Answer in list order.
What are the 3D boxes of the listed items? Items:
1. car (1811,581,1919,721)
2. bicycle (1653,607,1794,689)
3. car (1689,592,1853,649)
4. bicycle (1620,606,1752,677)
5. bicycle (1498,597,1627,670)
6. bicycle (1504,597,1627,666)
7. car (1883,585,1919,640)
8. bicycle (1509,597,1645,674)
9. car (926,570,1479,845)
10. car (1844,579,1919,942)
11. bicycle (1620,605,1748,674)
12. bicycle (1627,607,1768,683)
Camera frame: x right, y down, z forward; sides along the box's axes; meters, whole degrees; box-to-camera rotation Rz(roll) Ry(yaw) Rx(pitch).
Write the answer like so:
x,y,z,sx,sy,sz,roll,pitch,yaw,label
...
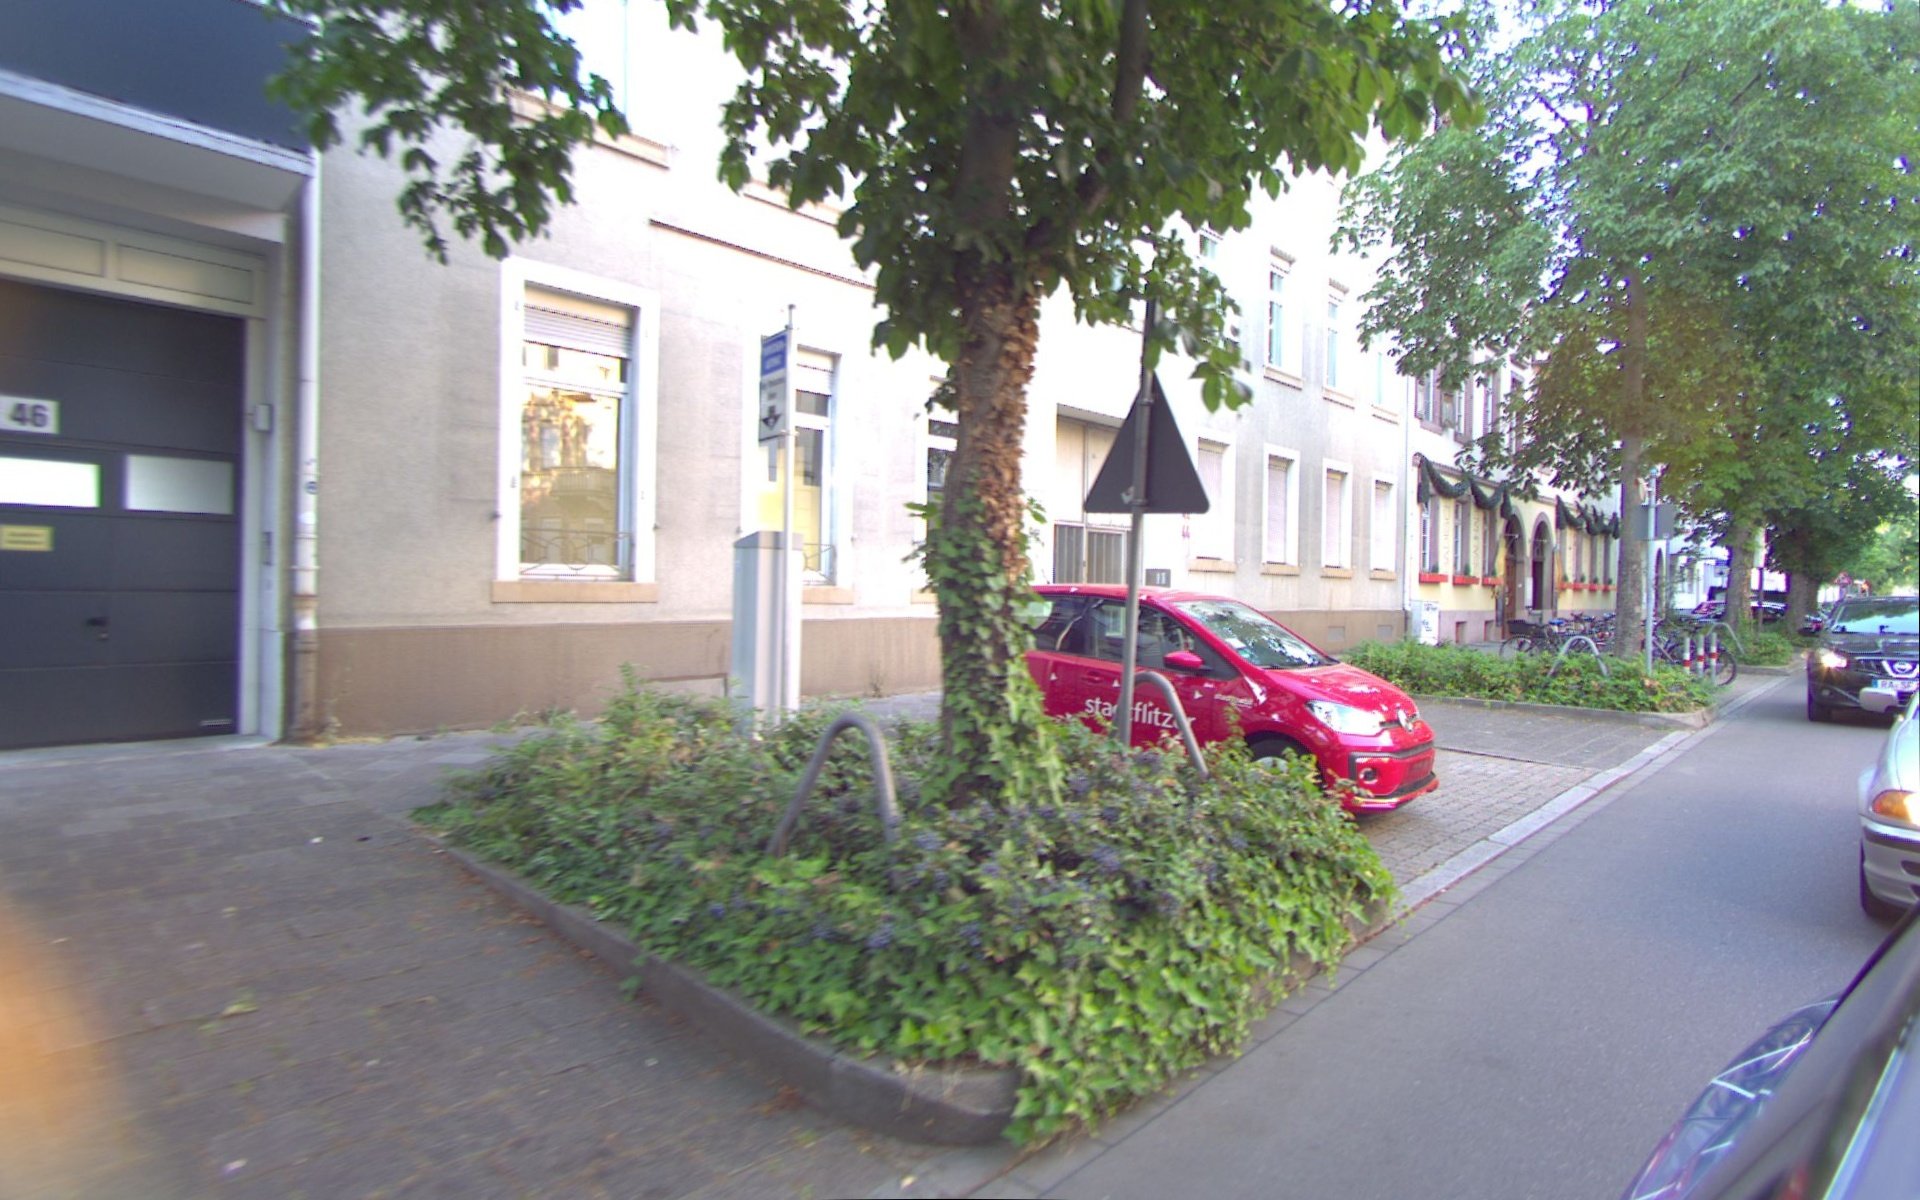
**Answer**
x,y,z,sx,sy,sz,roll,pitch,yaw,label
12.240,0.576,12.873,3.934,1.571,1.802,0,1,-45,car
12.759,0.782,16.983,1.835,1.242,0.529,2,1,34,bicycle
27.745,0.655,34.707,4.233,1.761,1.714,2,1,44,car
13.928,0.765,19.448,2.019,1.242,0.528,2,1,39,bicycle
11.230,0.597,18.901,2.015,1.242,0.529,2,1,34,bicycle
11.873,0.583,19.887,2.018,1.242,0.528,2,1,38,bicycle
29.245,0.373,30.618,1.802,1.571,3.936,2,1,44,car
11.004,0.607,18.095,2.015,1.242,0.529,2,1,34,bicycle
1.603,0.553,7.421,3.610,1.495,1.639,2,1,43,car
5.933,0.659,5.001,4.357,1.460,1.711,0,1,-40,car
14.418,0.755,20.195,2.019,1.242,0.528,2,1,39,bicycle
13.277,0.782,18.263,2.019,1.242,0.528,2,1,39,bicycle
